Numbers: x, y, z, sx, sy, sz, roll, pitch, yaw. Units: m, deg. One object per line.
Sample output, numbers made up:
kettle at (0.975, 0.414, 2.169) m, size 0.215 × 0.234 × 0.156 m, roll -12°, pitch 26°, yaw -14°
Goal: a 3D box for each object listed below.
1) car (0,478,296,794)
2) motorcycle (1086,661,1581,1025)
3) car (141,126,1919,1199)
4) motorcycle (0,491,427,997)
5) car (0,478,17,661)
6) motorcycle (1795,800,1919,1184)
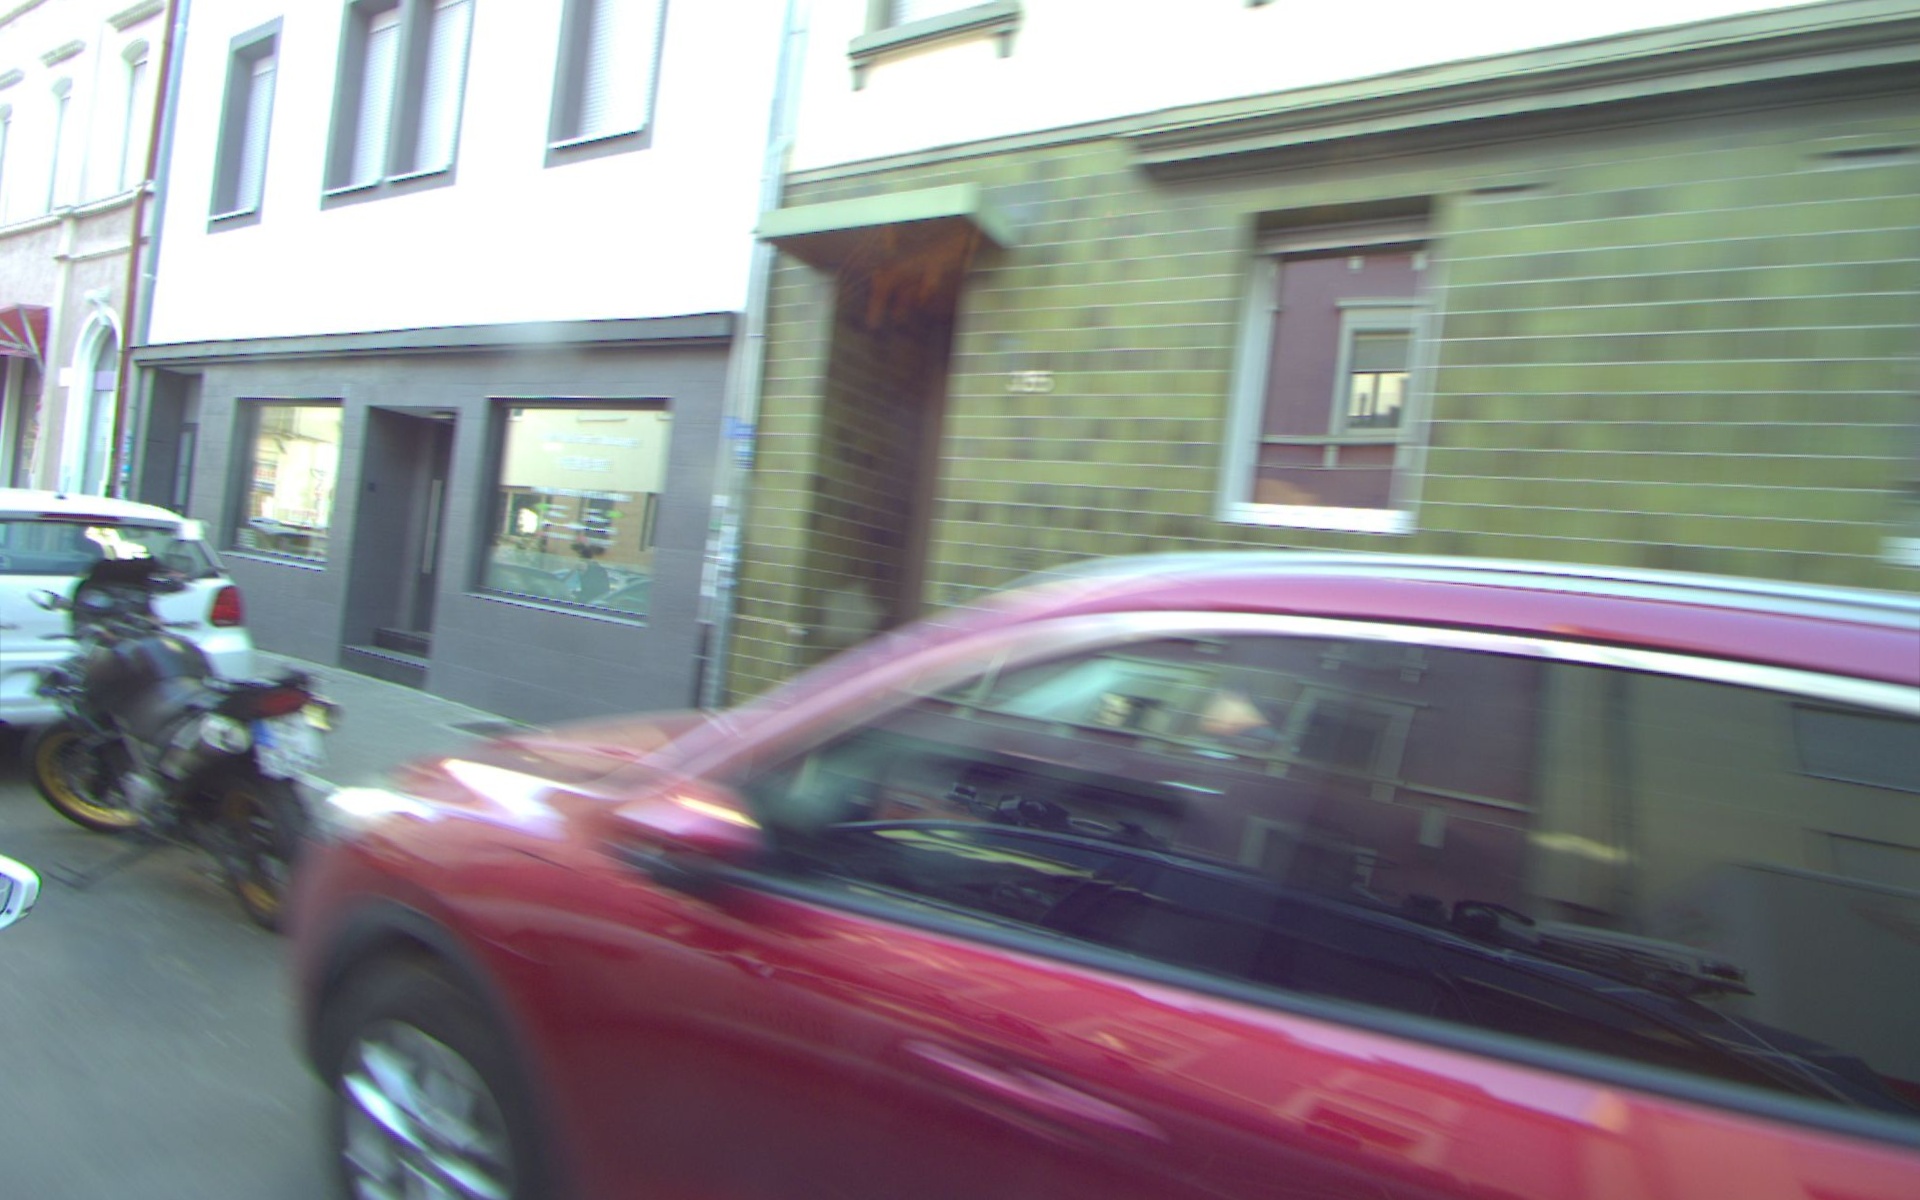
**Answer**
car at (-5.943, 0.020, 6.203) m, size 3.754 × 1.525 × 1.666 m, roll 6°, pitch 2°, yaw 33°
motorcycle at (1.547, 0.934, 4.372) m, size 1.847 × 1.110 × 0.501 m, roll 6°, pitch 2°, yaw 31°
car at (0.410, 0.444, 2.133) m, size 4.293 × 1.727 × 1.920 m, roll 7°, pitch 0°, yaw 31°
motorcycle at (-3.274, 0.400, 4.057) m, size 2.382 × 1.507 × 0.748 m, roll 6°, pitch -1°, yaw 32°
car at (-9.839, -0.435, 8.584) m, size 3.905 × 1.495 × 1.645 m, roll 6°, pitch 3°, yaw 32°
motorcycle at (3.787, 1.367, 3.062) m, size 1.746 × 1.110 × 0.558 m, roll 6°, pitch 2°, yaw 31°
